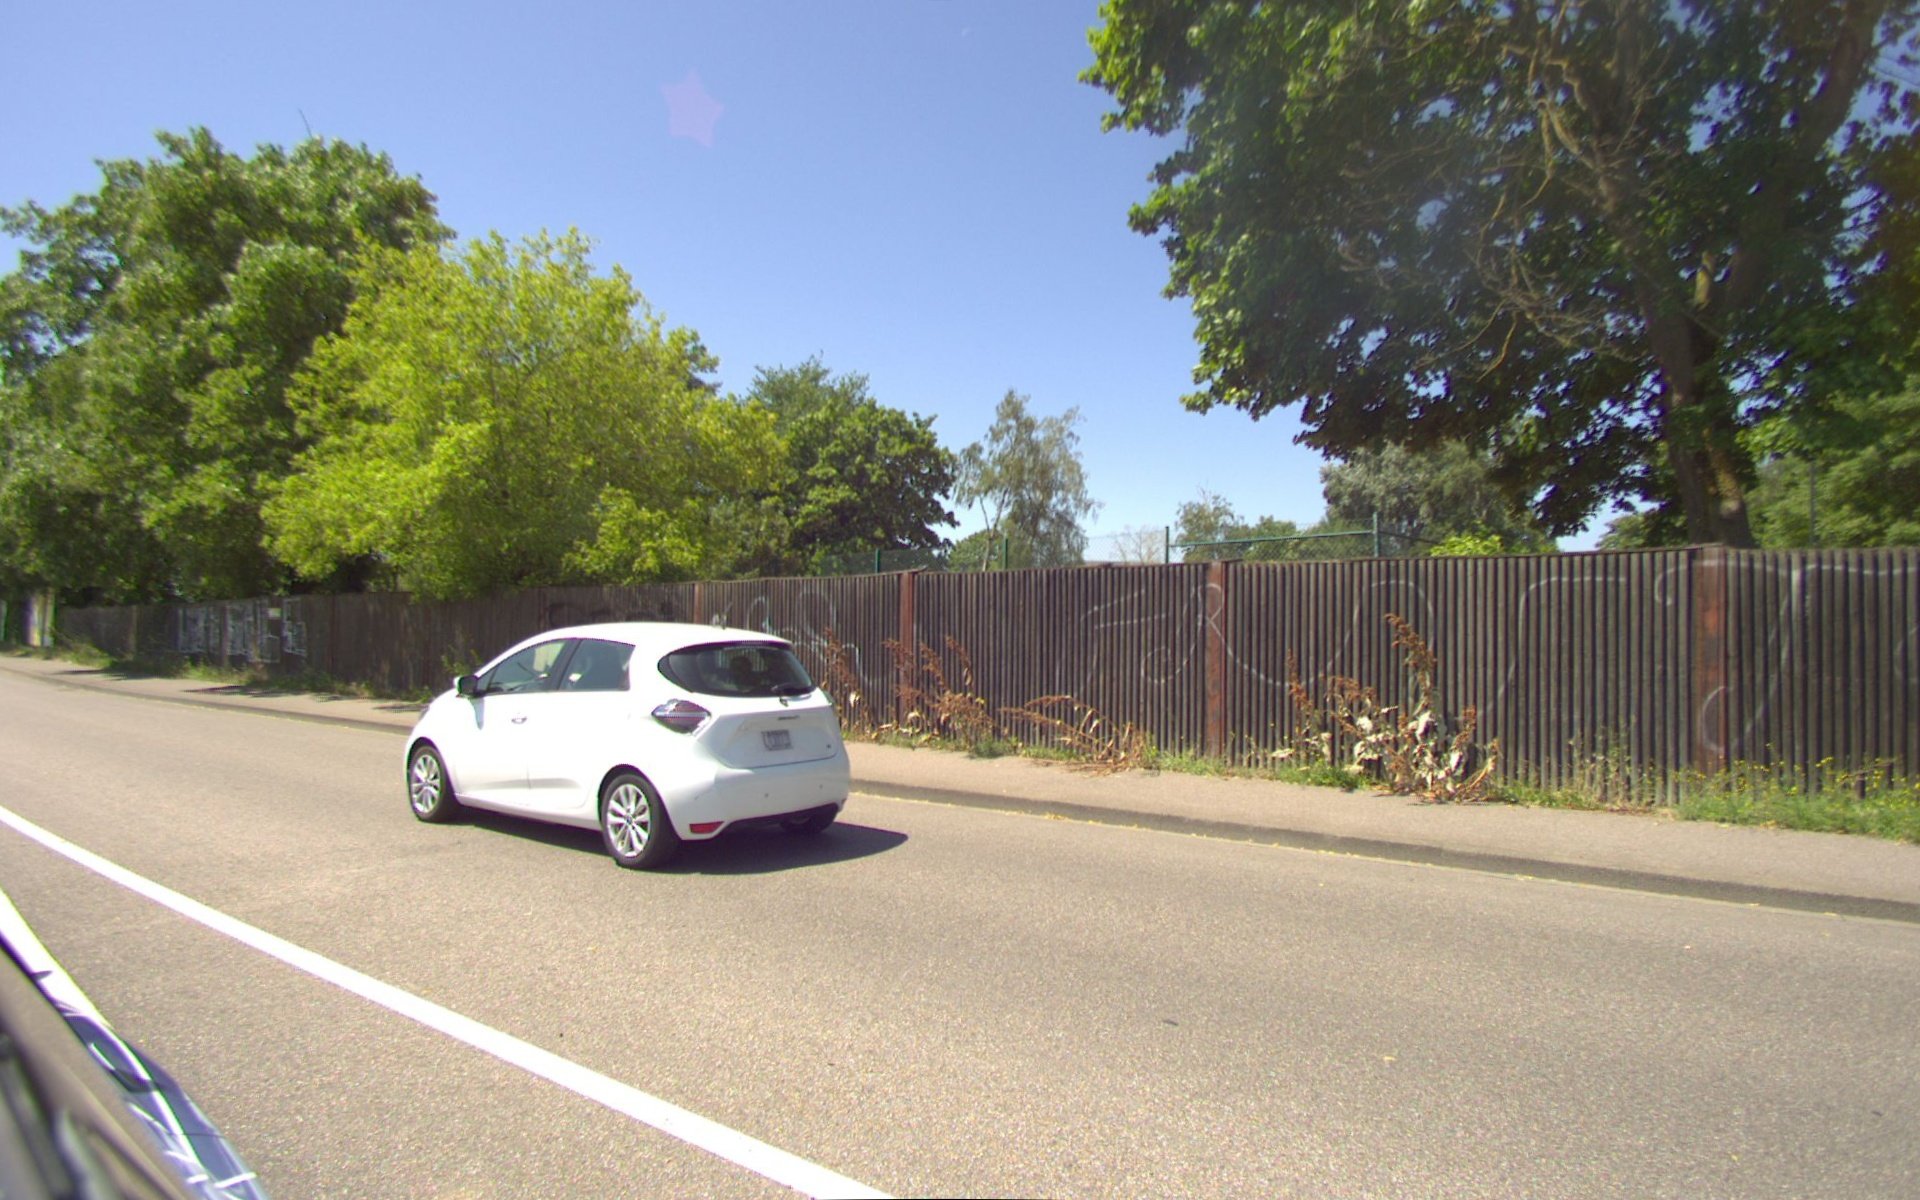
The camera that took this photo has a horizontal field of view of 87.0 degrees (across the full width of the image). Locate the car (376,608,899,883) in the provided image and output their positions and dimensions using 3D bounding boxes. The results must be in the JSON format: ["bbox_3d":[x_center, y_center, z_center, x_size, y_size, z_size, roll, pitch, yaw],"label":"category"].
[{"bbox_3d":[-2.500,0.867,7.538,3.864,1.539,1.760,-1,-2,36],"label":"car"}]
